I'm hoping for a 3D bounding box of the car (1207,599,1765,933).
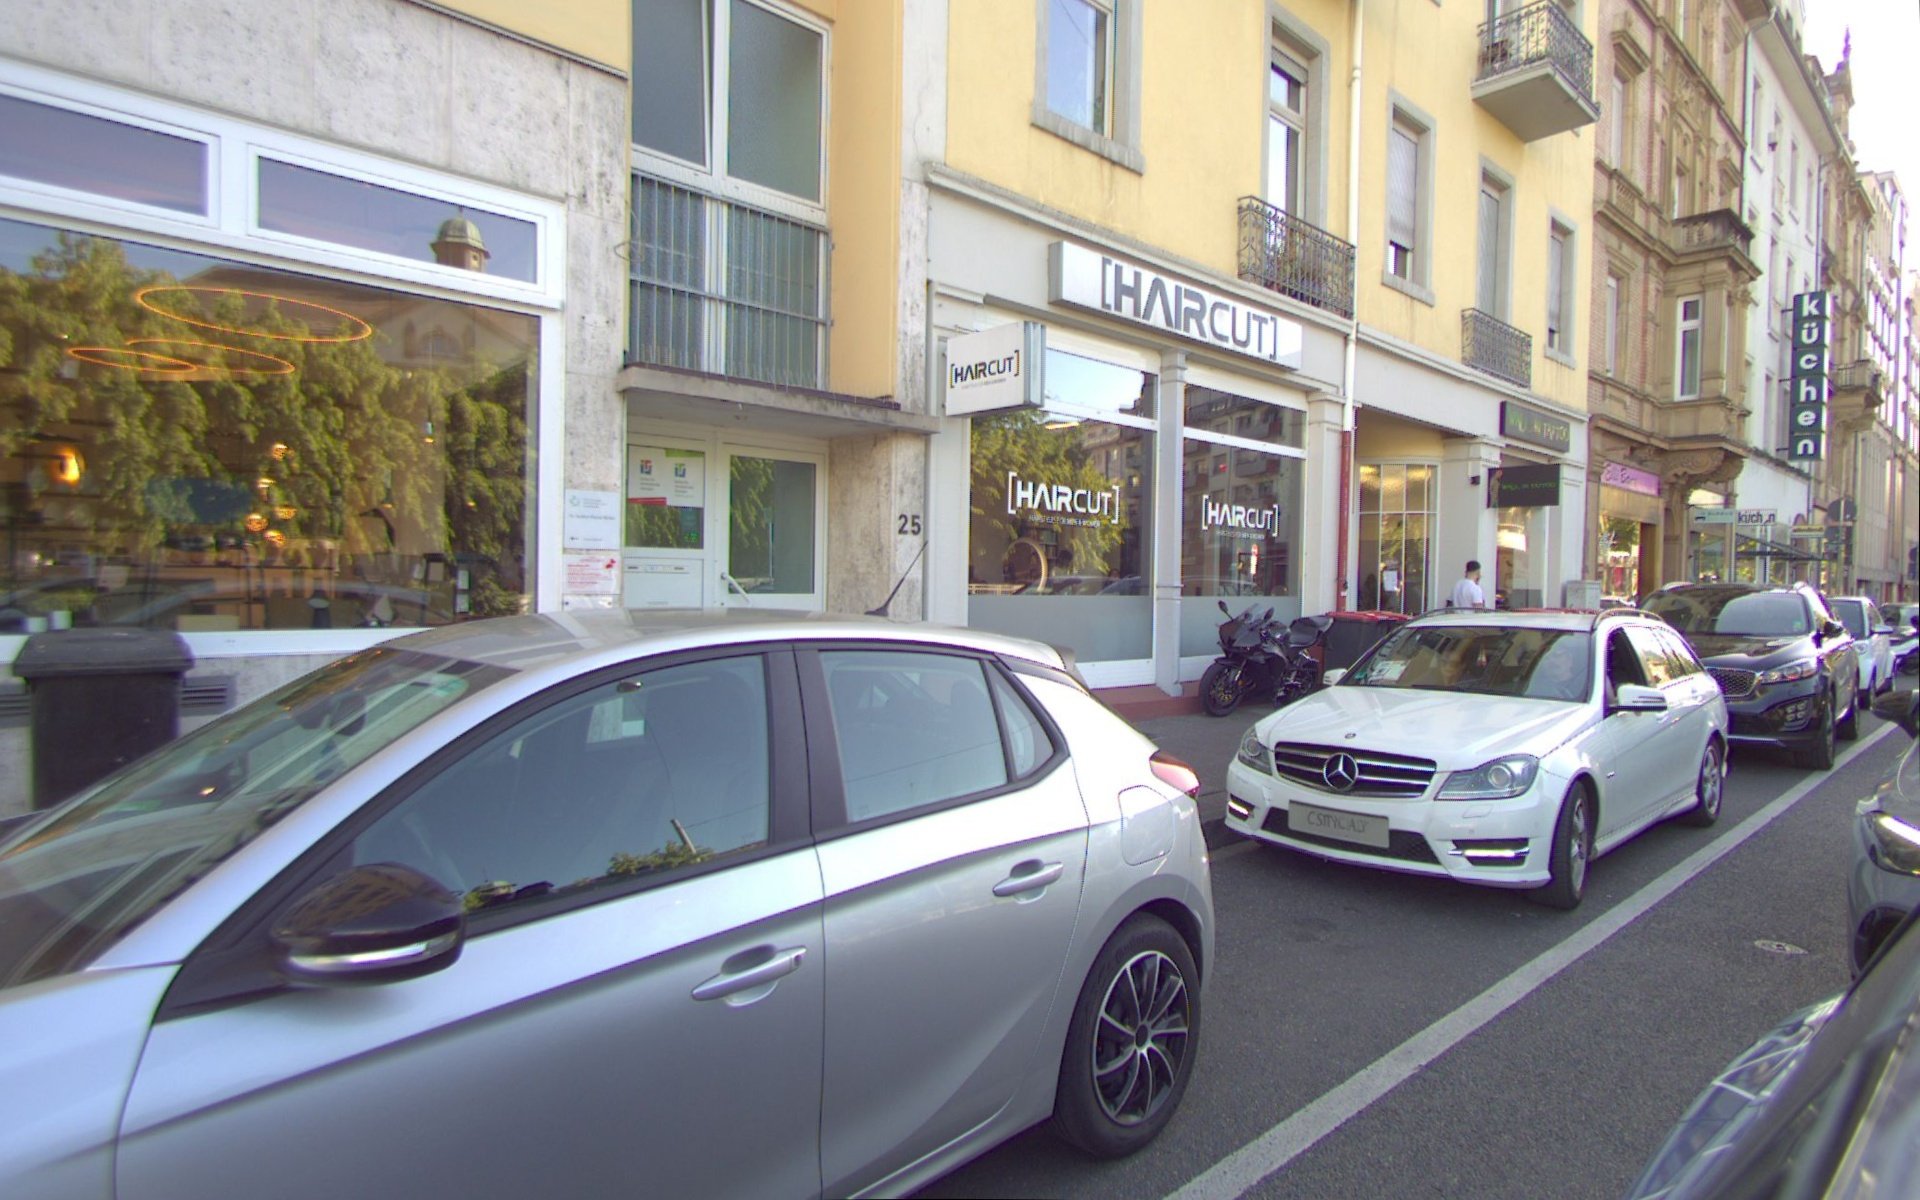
[{"bbox_3d":[3.535,0.710,6.391,4.301,1.389,1.671,-1,0,-41],"label":"car"}]

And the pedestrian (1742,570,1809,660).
[{"bbox_3d":[16.167,0.290,20.090,0.828,1.741,0.813,0,0,24],"label":"pedestrian"}]

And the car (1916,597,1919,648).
[{"bbox_3d":[26.612,0.575,26.931,3.306,1.334,1.459,-1,0,-42],"label":"car"}]

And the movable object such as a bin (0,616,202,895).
[{"bbox_3d":[-3.671,0.601,4.326,0.639,1.036,0.737,0,0,-41],"label":"movable object such as a bin"}]

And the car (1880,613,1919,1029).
[{"bbox_3d":[5.400,0.751,4.379,4.397,1.385,1.767,-1,1,-43],"label":"car"}]

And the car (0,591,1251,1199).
[{"bbox_3d":[-1.003,0.716,2.310,3.625,1.455,1.585,-1,0,-43],"label":"car"}]

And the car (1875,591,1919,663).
[{"bbox_3d":[21.900,0.567,22.813,3.736,1.509,1.691,-1,0,-45],"label":"car"}]

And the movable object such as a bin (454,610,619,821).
[{"bbox_3d":[-2.324,0.582,5.540,0.639,1.036,0.737,0,0,-41],"label":"movable object such as a bin"}]

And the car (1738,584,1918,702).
[{"bbox_3d":[12.773,0.548,14.856,2.945,1.542,1.582,-1,0,-41],"label":"car"}]

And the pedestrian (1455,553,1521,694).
[{"bbox_3d":[7.242,0.302,13.878,0.627,1.859,0.760,0,0,41],"label":"pedestrian"}]

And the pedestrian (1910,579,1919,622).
[{"bbox_3d":[40.990,0.015,43.027,0.809,1.782,0.825,0,0,-42],"label":"pedestrian"}]

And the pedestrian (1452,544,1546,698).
[{"bbox_3d":[6.858,0.255,12.904,0.961,1.900,0.532,0,0,18],"label":"pedestrian"}]

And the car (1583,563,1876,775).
[{"bbox_3d":[8.012,0.532,10.370,4.338,1.711,1.802,-1,0,-45],"label":"car"}]

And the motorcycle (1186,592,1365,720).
[{"bbox_3d":[3.304,0.524,10.507,2.073,1.144,0.735,-1,5,-41],"label":"motorcycle"}]
